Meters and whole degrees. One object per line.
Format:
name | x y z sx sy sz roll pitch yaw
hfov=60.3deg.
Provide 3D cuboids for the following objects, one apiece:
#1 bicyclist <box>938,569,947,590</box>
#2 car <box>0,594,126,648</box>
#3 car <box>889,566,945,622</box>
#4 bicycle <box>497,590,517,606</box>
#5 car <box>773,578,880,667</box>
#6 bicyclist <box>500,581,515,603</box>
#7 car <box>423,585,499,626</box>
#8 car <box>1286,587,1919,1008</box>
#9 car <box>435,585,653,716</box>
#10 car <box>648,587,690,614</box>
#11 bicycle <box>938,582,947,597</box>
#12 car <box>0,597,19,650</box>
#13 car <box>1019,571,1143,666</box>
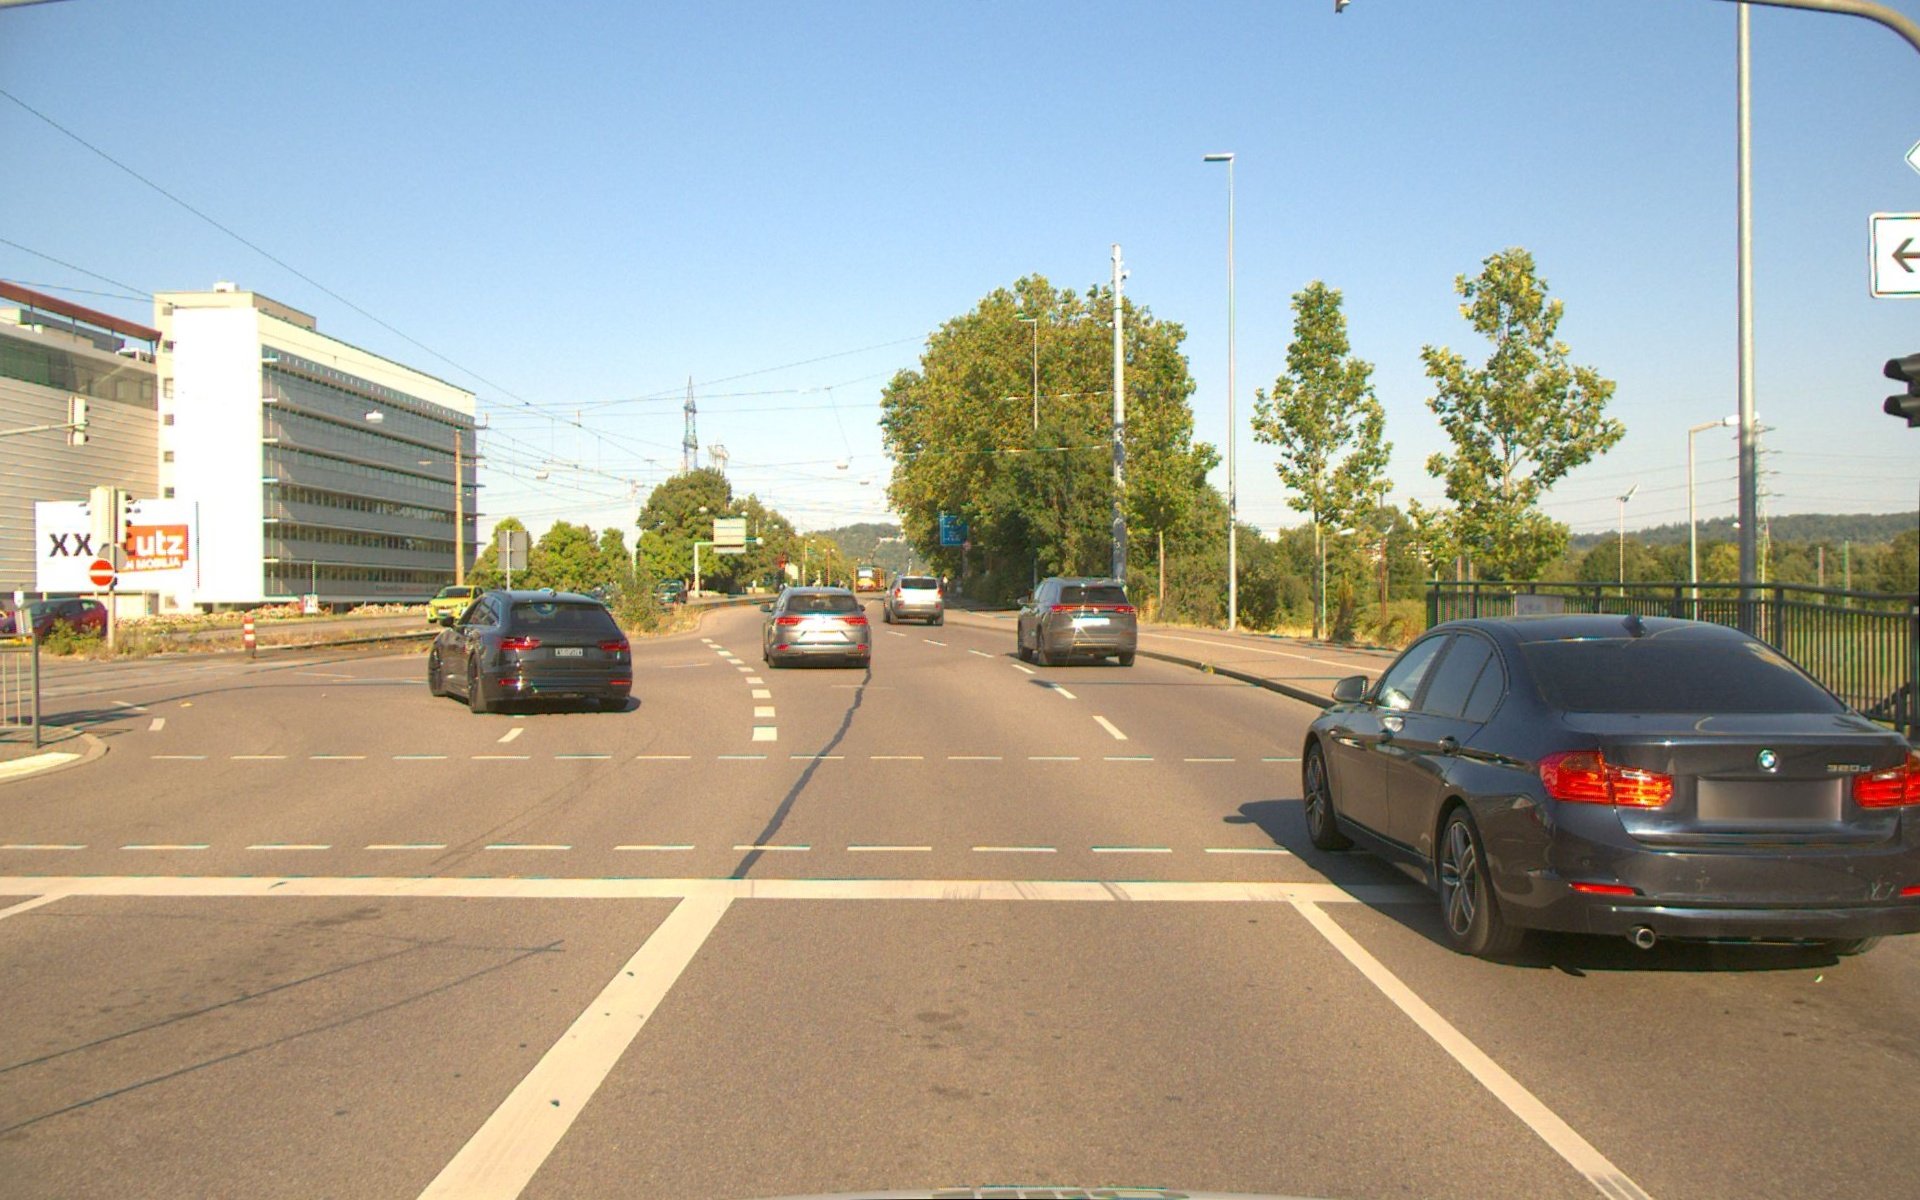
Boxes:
bicyclist | -1.342 -1.577 126.749 0.671 1.535 0.890 0 1 -1
car | -28.040 0.648 51.150 1.894 1.502 4.135 -3 0 9
car | -1.515 -0.230 57.886 1.845 1.827 3.999 2 1 -2
bicycle | -33.003 -0.134 120.520 0.690 1.092 2.029 2 1 6
car | -2.492 0.356 30.882 1.829 1.493 4.662 1 1 -5
bicyclist | -32.986 -0.578 120.565 0.690 1.538 0.971 2 1 6
car | -19.866 0.187 66.047 1.747 1.473 4.108 -2 1 0
car | 3.033 0.703 8.302 1.828 1.493 4.586 0 1 -1
car | -5.358 0.556 20.932 1.892 1.483 4.057 0 0 -26
car | -19.689 0.015 112.108 1.953 1.684 4.659 -1 1 0
bicycle | -1.347 -0.830 126.684 0.609 1.139 1.813 -2 1 -1
car | -31.873 0.815 51.877 1.782 1.671 4.004 -2 1 14
car | 2.267 0.293 32.022 1.808 1.690 4.437 1 1 -3
